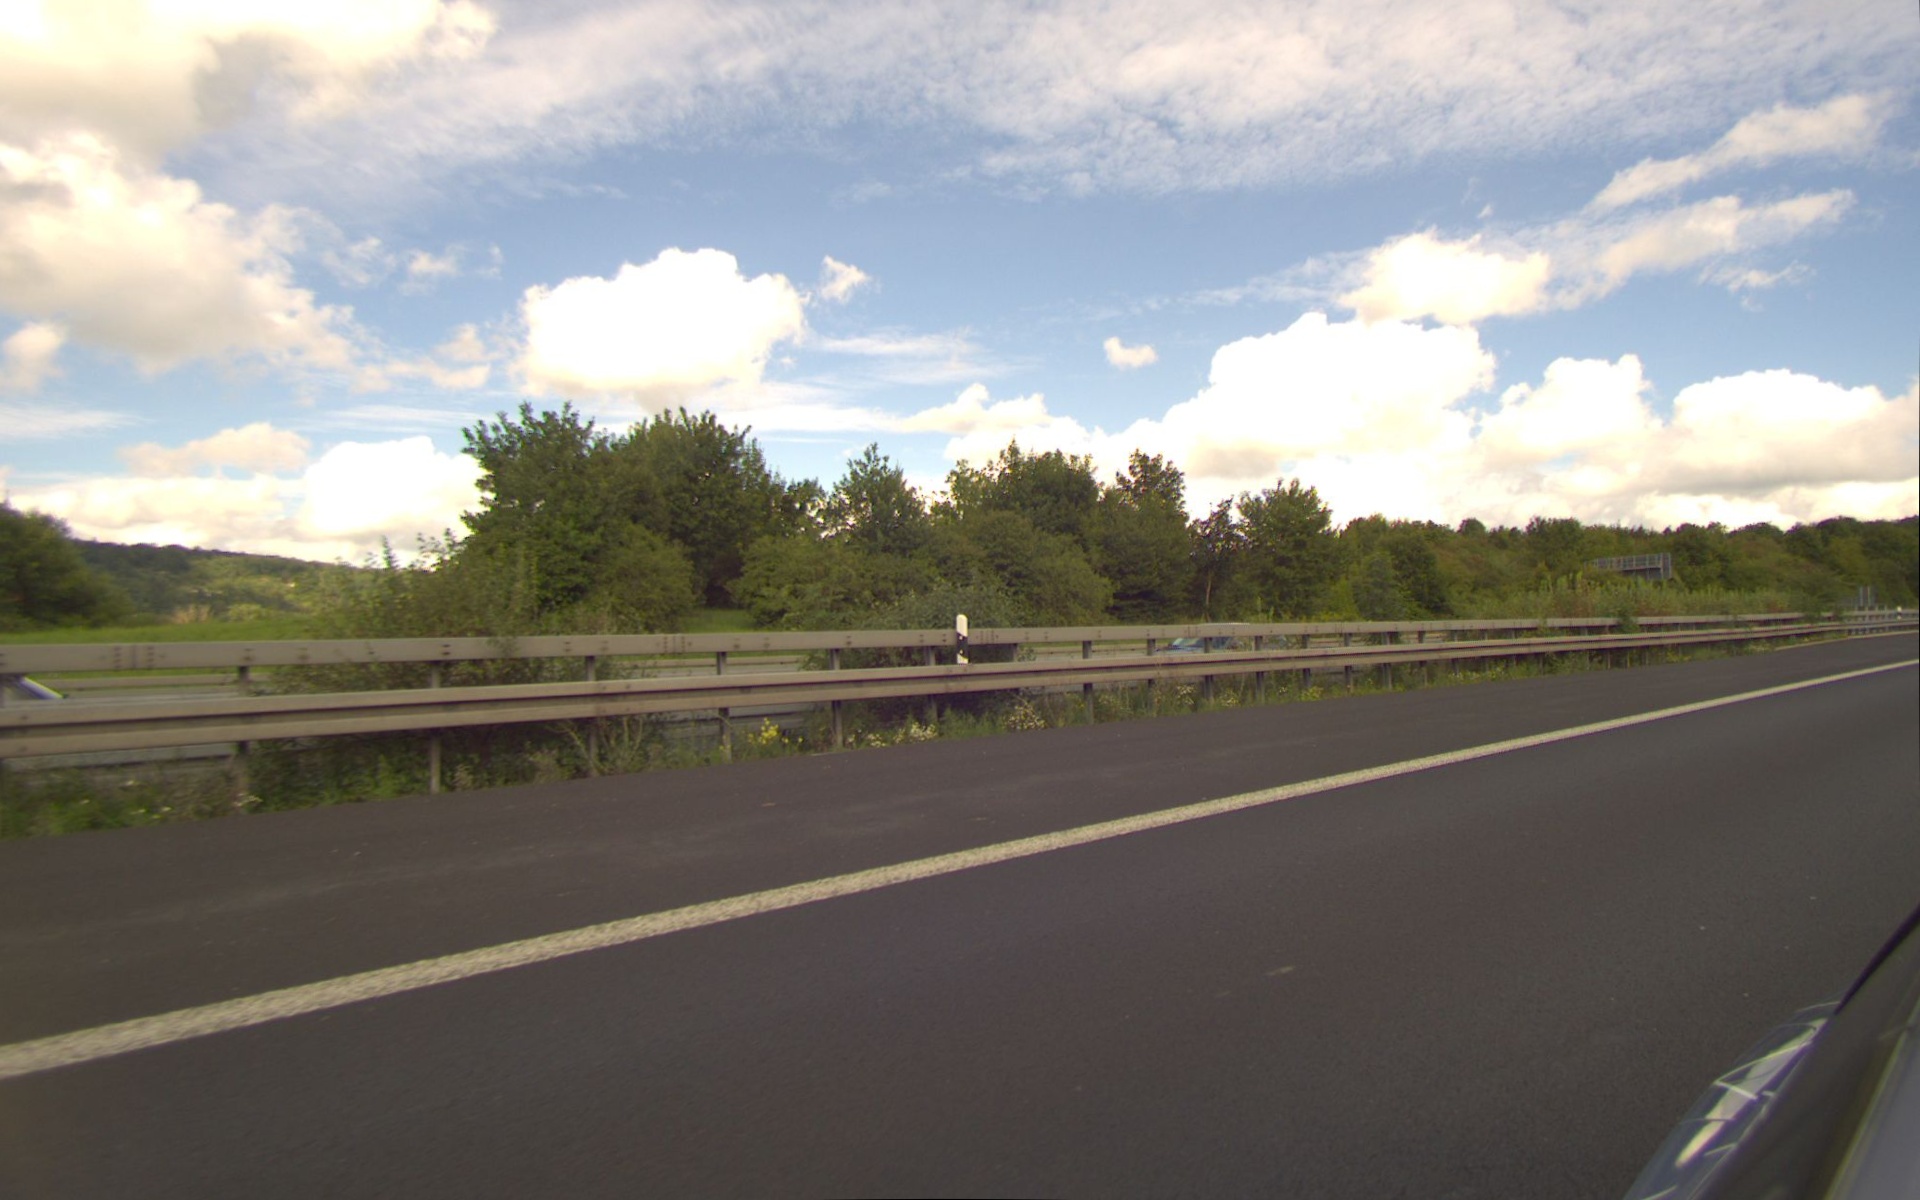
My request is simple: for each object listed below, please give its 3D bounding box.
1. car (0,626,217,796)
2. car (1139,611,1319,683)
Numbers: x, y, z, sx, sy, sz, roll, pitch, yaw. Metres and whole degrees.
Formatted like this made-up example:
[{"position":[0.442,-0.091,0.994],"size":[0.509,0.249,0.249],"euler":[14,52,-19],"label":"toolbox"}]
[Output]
[{"position":[-10.177,1.108,10.227],"size":[4.265,1.591,1.788],"euler":[0,0,-38],"label":"car"},{"position":[6.662,1.076,24.852],"size":[4.589,1.538,1.789],"euler":[0,0,-36],"label":"car"}]
